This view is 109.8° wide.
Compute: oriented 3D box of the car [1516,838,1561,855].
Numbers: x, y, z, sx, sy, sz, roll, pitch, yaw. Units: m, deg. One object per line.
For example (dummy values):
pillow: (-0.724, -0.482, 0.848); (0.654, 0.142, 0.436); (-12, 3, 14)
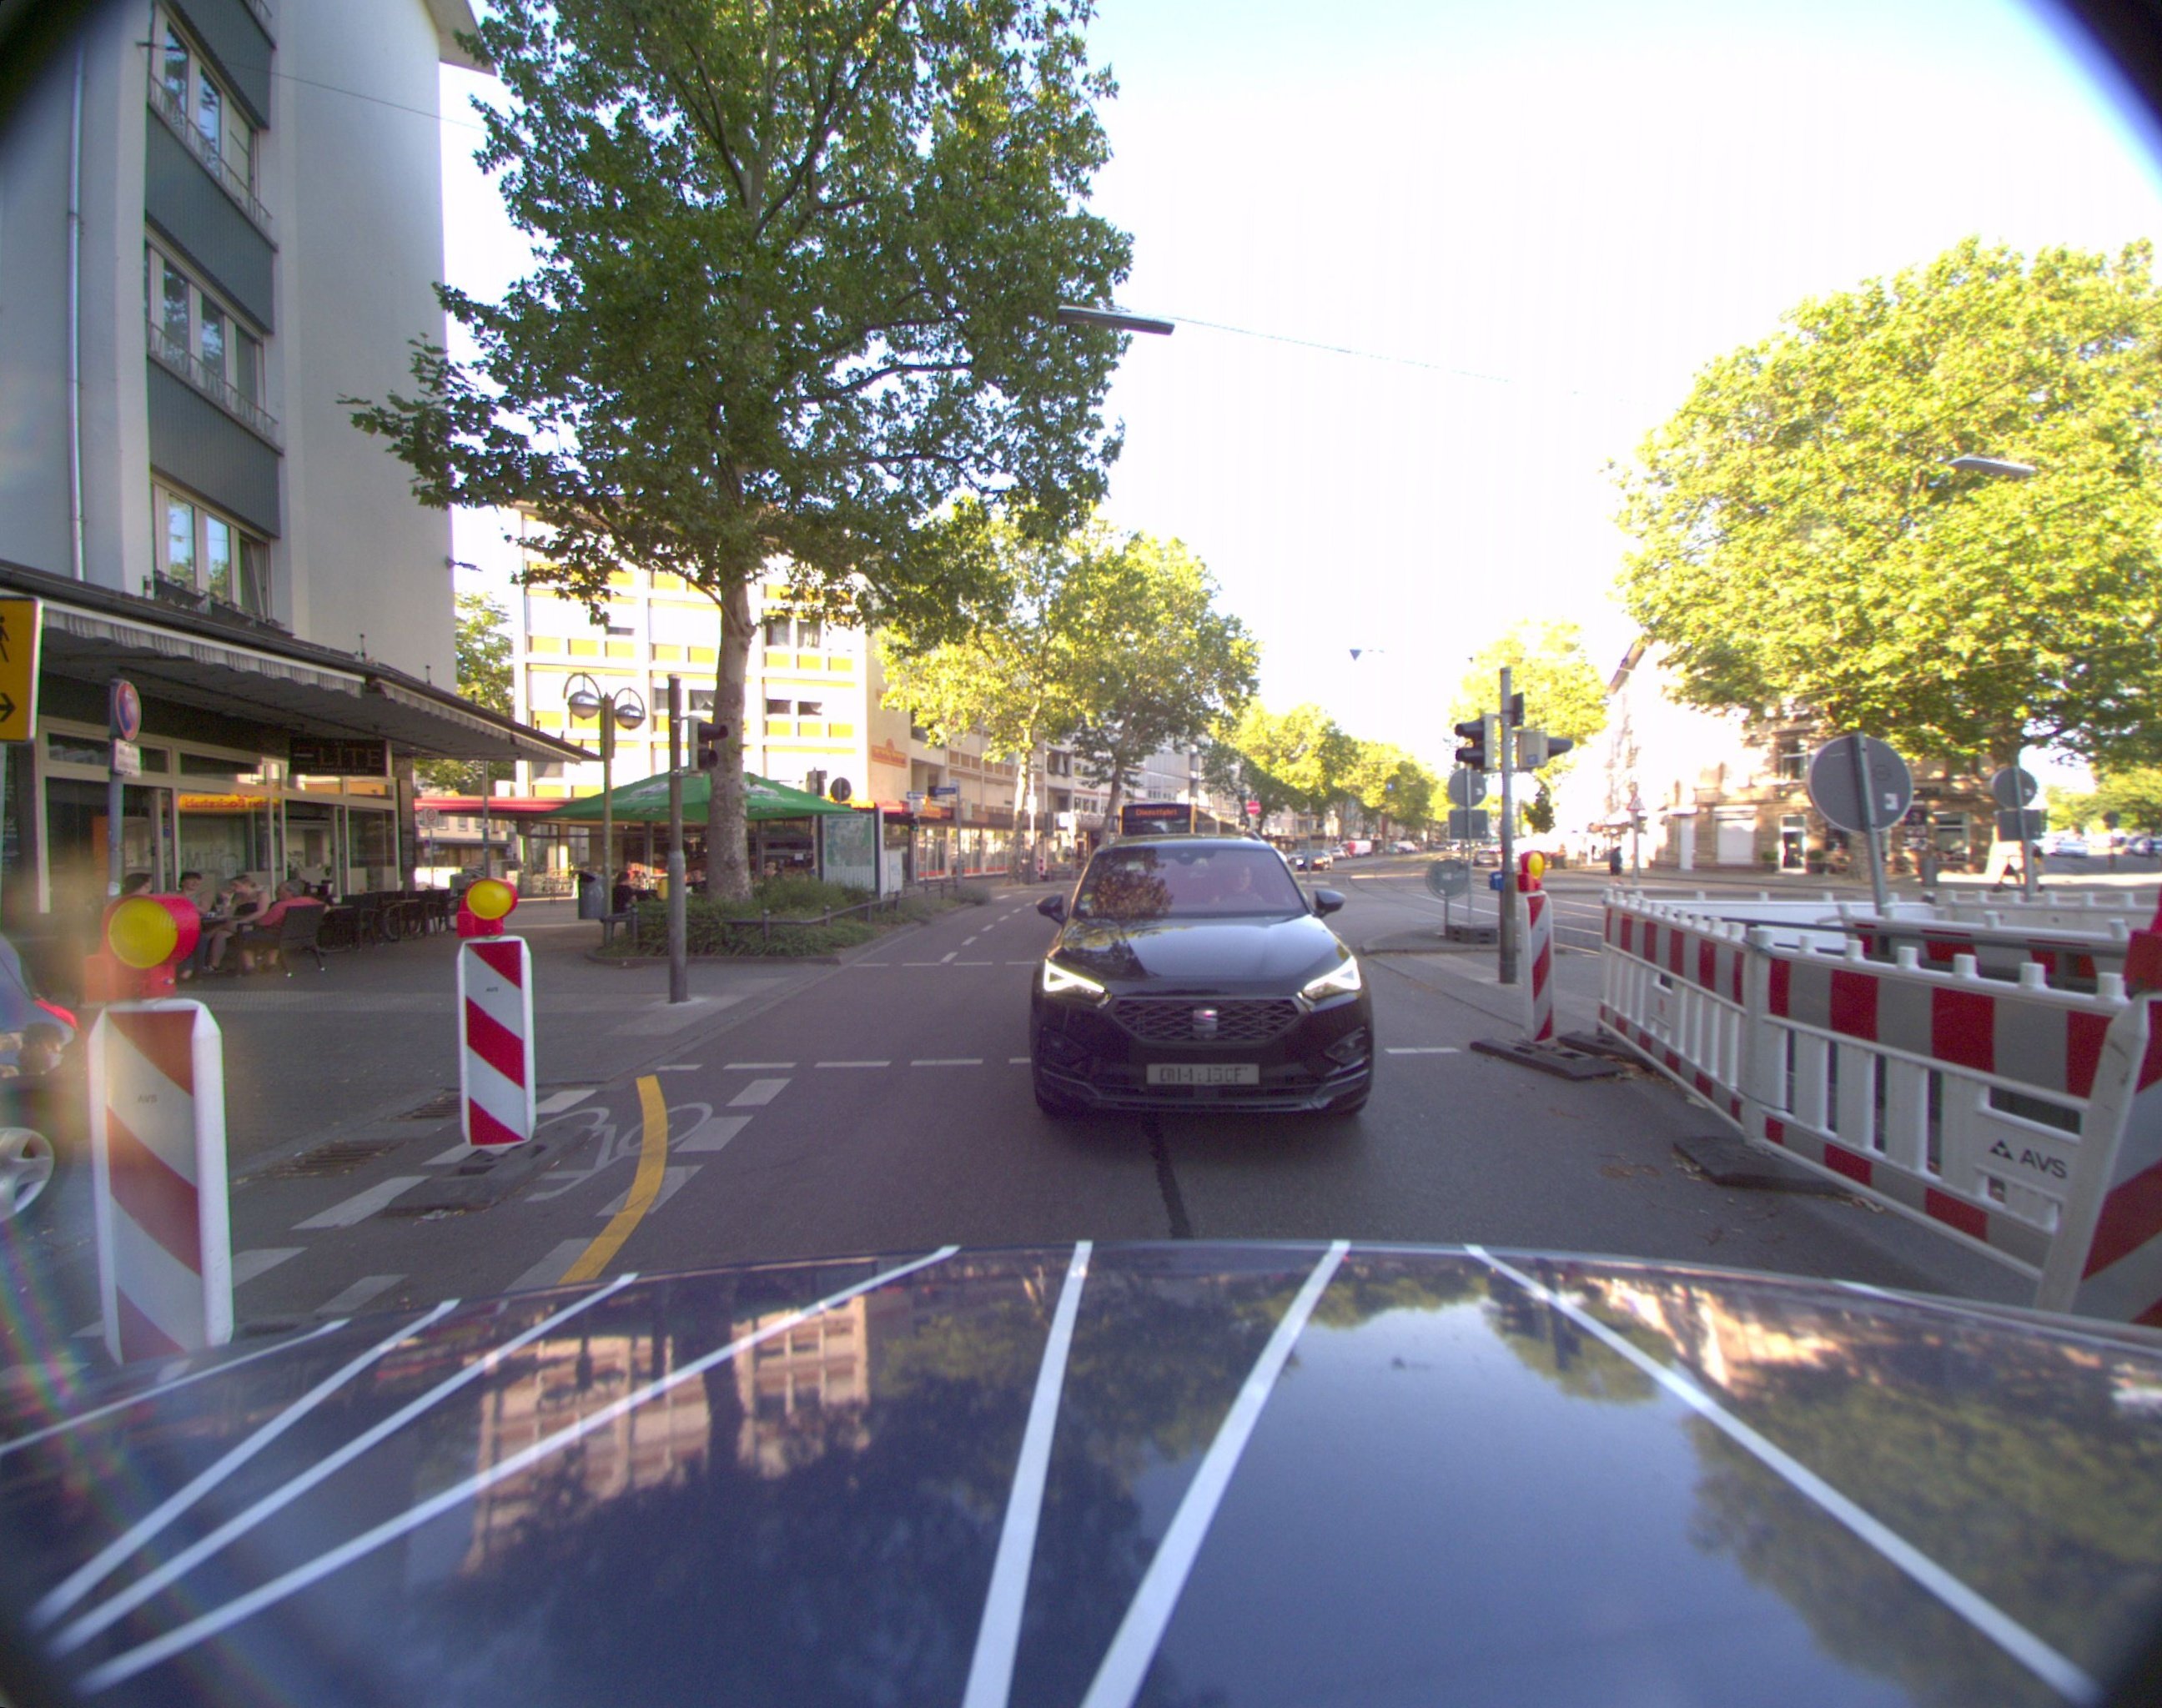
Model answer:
car: (52.279, -0.847, 86.848); (3.999, 1.904, 1.998); (-1, 1, -7)

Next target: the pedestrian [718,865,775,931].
pedestrian: (-6.802, 0.882, 15.462); (0.718, 1.278, 0.769); (0, 1, 14)

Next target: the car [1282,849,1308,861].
car: (23.990, 0.117, 85.198); (2.629, 1.209, 1.200); (-1, 2, -6)

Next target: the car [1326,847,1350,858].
car: (32.304, -0.173, 95.417); (2.627, 1.274, 1.201); (-1, 2, 3)

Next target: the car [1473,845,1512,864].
car: (32.754, 0.022, 60.429); (1.880, 1.401, 4.008); (0, 1, 40)

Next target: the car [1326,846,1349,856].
car: (34.141, -0.431, 101.207); (2.627, 1.274, 1.201); (-1, 2, 3)

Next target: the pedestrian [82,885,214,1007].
pedestrian: (-10.219, 0.980, 8.353); (0.651, 1.244, 0.716); (1, 0, -24)

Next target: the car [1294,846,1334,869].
car: (16.490, 0.186, 53.627); (1.952, 1.467, 4.764); (0, 2, 26)

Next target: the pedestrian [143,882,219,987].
pedestrian: (-11.241, 0.980, 9.497); (0.519, 1.236, 0.553); (0, 0, 34)

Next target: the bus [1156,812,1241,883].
bus: (6.090, -0.348, 37.919); (2.749, 3.085, 9.508); (0, 1, 17)

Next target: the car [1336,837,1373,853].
car: (40.727, -1.349, 113.276); (4.868, 2.362, 1.878); (-1, 2, -10)

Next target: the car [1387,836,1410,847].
car: (64.334, -2.519, 153.992); (4.000, 2.002, 1.879); (-1, 1, -8)

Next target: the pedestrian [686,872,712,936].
pedestrian: (-7.388, 0.955, 14.695); (0.433, 1.212, 0.467); (1, 1, -29)

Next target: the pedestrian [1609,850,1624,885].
pedestrian: (20.124, 0.503, 28.551); (0.365, 1.301, 0.402); (0, 1, 18)

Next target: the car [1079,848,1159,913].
car: (1.113, 0.621, 20.345); (1.743, 1.492, 4.301); (-2, 0, 8)

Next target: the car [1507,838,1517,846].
car: (98.456, -2.782, 173.701); (1.903, 1.893, 4.007); (0, 1, 29)

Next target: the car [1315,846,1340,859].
car: (29.864, -0.191, 92.023); (2.627, 1.464, 1.201); (-1, 2, 3)

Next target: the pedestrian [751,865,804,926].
pedestrian: (-6.534, 0.879, 16.386); (0.718, 1.278, 0.769); (-1, 1, 13)

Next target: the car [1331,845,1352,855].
car: (36.800, -0.627, 107.284); (2.627, 1.338, 1.201); (-1, 2, 3)

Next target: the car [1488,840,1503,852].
car: (68.443, -1.327, 125.543); (1.994, 1.856, 4.007); (0, 1, 31)

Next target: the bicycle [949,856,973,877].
bicycle: (-6.639, 0.676, 42.234); (0.528, 1.136, 1.976); (0, 1, 15)

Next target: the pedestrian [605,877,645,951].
pedestrian: (-7.776, 1.006, 12.951); (0.469, 1.212, 0.431); (-2, 1, -44)

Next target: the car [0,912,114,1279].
car: (-5.154, 0.996, 1.626); (1.623, 1.457, 3.604); (2, 0, -2)

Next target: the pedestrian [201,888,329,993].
pedestrian: (-9.845, 1.015, 9.204); (0.847, 1.191, 0.649); (1, 0, -22)

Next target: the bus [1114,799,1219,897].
bus: (3.546, -0.233, 28.807); (2.750, 3.085, 9.506); (0, 1, 14)

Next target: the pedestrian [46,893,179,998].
pedestrian: (-11.085, 1.021, 8.729); (0.718, 1.123, 0.649); (1, 0, -24)

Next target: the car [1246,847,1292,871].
car: (13.695, 0.344, 55.215); (1.952, 1.541, 4.765); (0, 2, 31)

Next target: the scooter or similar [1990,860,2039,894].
scooter or similar: (29.894, 0.727, 24.334); (0.309, 1.033, 0.979); (-2, 1, -40)

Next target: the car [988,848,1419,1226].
car: (0.683, 0.808, 5.506); (1.848, 1.648, 4.300); (-2, 0, 4)

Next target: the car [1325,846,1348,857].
car: (32.970, -0.341, 98.005); (2.627, 1.274, 1.201); (-1, 2, 3)

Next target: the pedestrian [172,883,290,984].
pedestrian: (-10.692, 0.981, 9.583); (0.666, 1.211, 0.717); (0, 0, -5)

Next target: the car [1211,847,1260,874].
car: (9.499, 0.369, 46.573); (1.908, 1.467, 4.425); (0, 2, 26)

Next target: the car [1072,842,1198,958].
car: (0.975, 0.643, 12.981); (1.743, 1.630, 4.300); (-2, 0, 6)

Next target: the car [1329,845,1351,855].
car: (35.546, -0.578, 104.388); (2.627, 1.380, 1.201); (-1, 2, 3)

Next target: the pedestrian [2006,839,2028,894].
pedestrian: (30.215, 0.394, 24.535); (0.355, 1.757, 0.418); (-2, 2, -41)
